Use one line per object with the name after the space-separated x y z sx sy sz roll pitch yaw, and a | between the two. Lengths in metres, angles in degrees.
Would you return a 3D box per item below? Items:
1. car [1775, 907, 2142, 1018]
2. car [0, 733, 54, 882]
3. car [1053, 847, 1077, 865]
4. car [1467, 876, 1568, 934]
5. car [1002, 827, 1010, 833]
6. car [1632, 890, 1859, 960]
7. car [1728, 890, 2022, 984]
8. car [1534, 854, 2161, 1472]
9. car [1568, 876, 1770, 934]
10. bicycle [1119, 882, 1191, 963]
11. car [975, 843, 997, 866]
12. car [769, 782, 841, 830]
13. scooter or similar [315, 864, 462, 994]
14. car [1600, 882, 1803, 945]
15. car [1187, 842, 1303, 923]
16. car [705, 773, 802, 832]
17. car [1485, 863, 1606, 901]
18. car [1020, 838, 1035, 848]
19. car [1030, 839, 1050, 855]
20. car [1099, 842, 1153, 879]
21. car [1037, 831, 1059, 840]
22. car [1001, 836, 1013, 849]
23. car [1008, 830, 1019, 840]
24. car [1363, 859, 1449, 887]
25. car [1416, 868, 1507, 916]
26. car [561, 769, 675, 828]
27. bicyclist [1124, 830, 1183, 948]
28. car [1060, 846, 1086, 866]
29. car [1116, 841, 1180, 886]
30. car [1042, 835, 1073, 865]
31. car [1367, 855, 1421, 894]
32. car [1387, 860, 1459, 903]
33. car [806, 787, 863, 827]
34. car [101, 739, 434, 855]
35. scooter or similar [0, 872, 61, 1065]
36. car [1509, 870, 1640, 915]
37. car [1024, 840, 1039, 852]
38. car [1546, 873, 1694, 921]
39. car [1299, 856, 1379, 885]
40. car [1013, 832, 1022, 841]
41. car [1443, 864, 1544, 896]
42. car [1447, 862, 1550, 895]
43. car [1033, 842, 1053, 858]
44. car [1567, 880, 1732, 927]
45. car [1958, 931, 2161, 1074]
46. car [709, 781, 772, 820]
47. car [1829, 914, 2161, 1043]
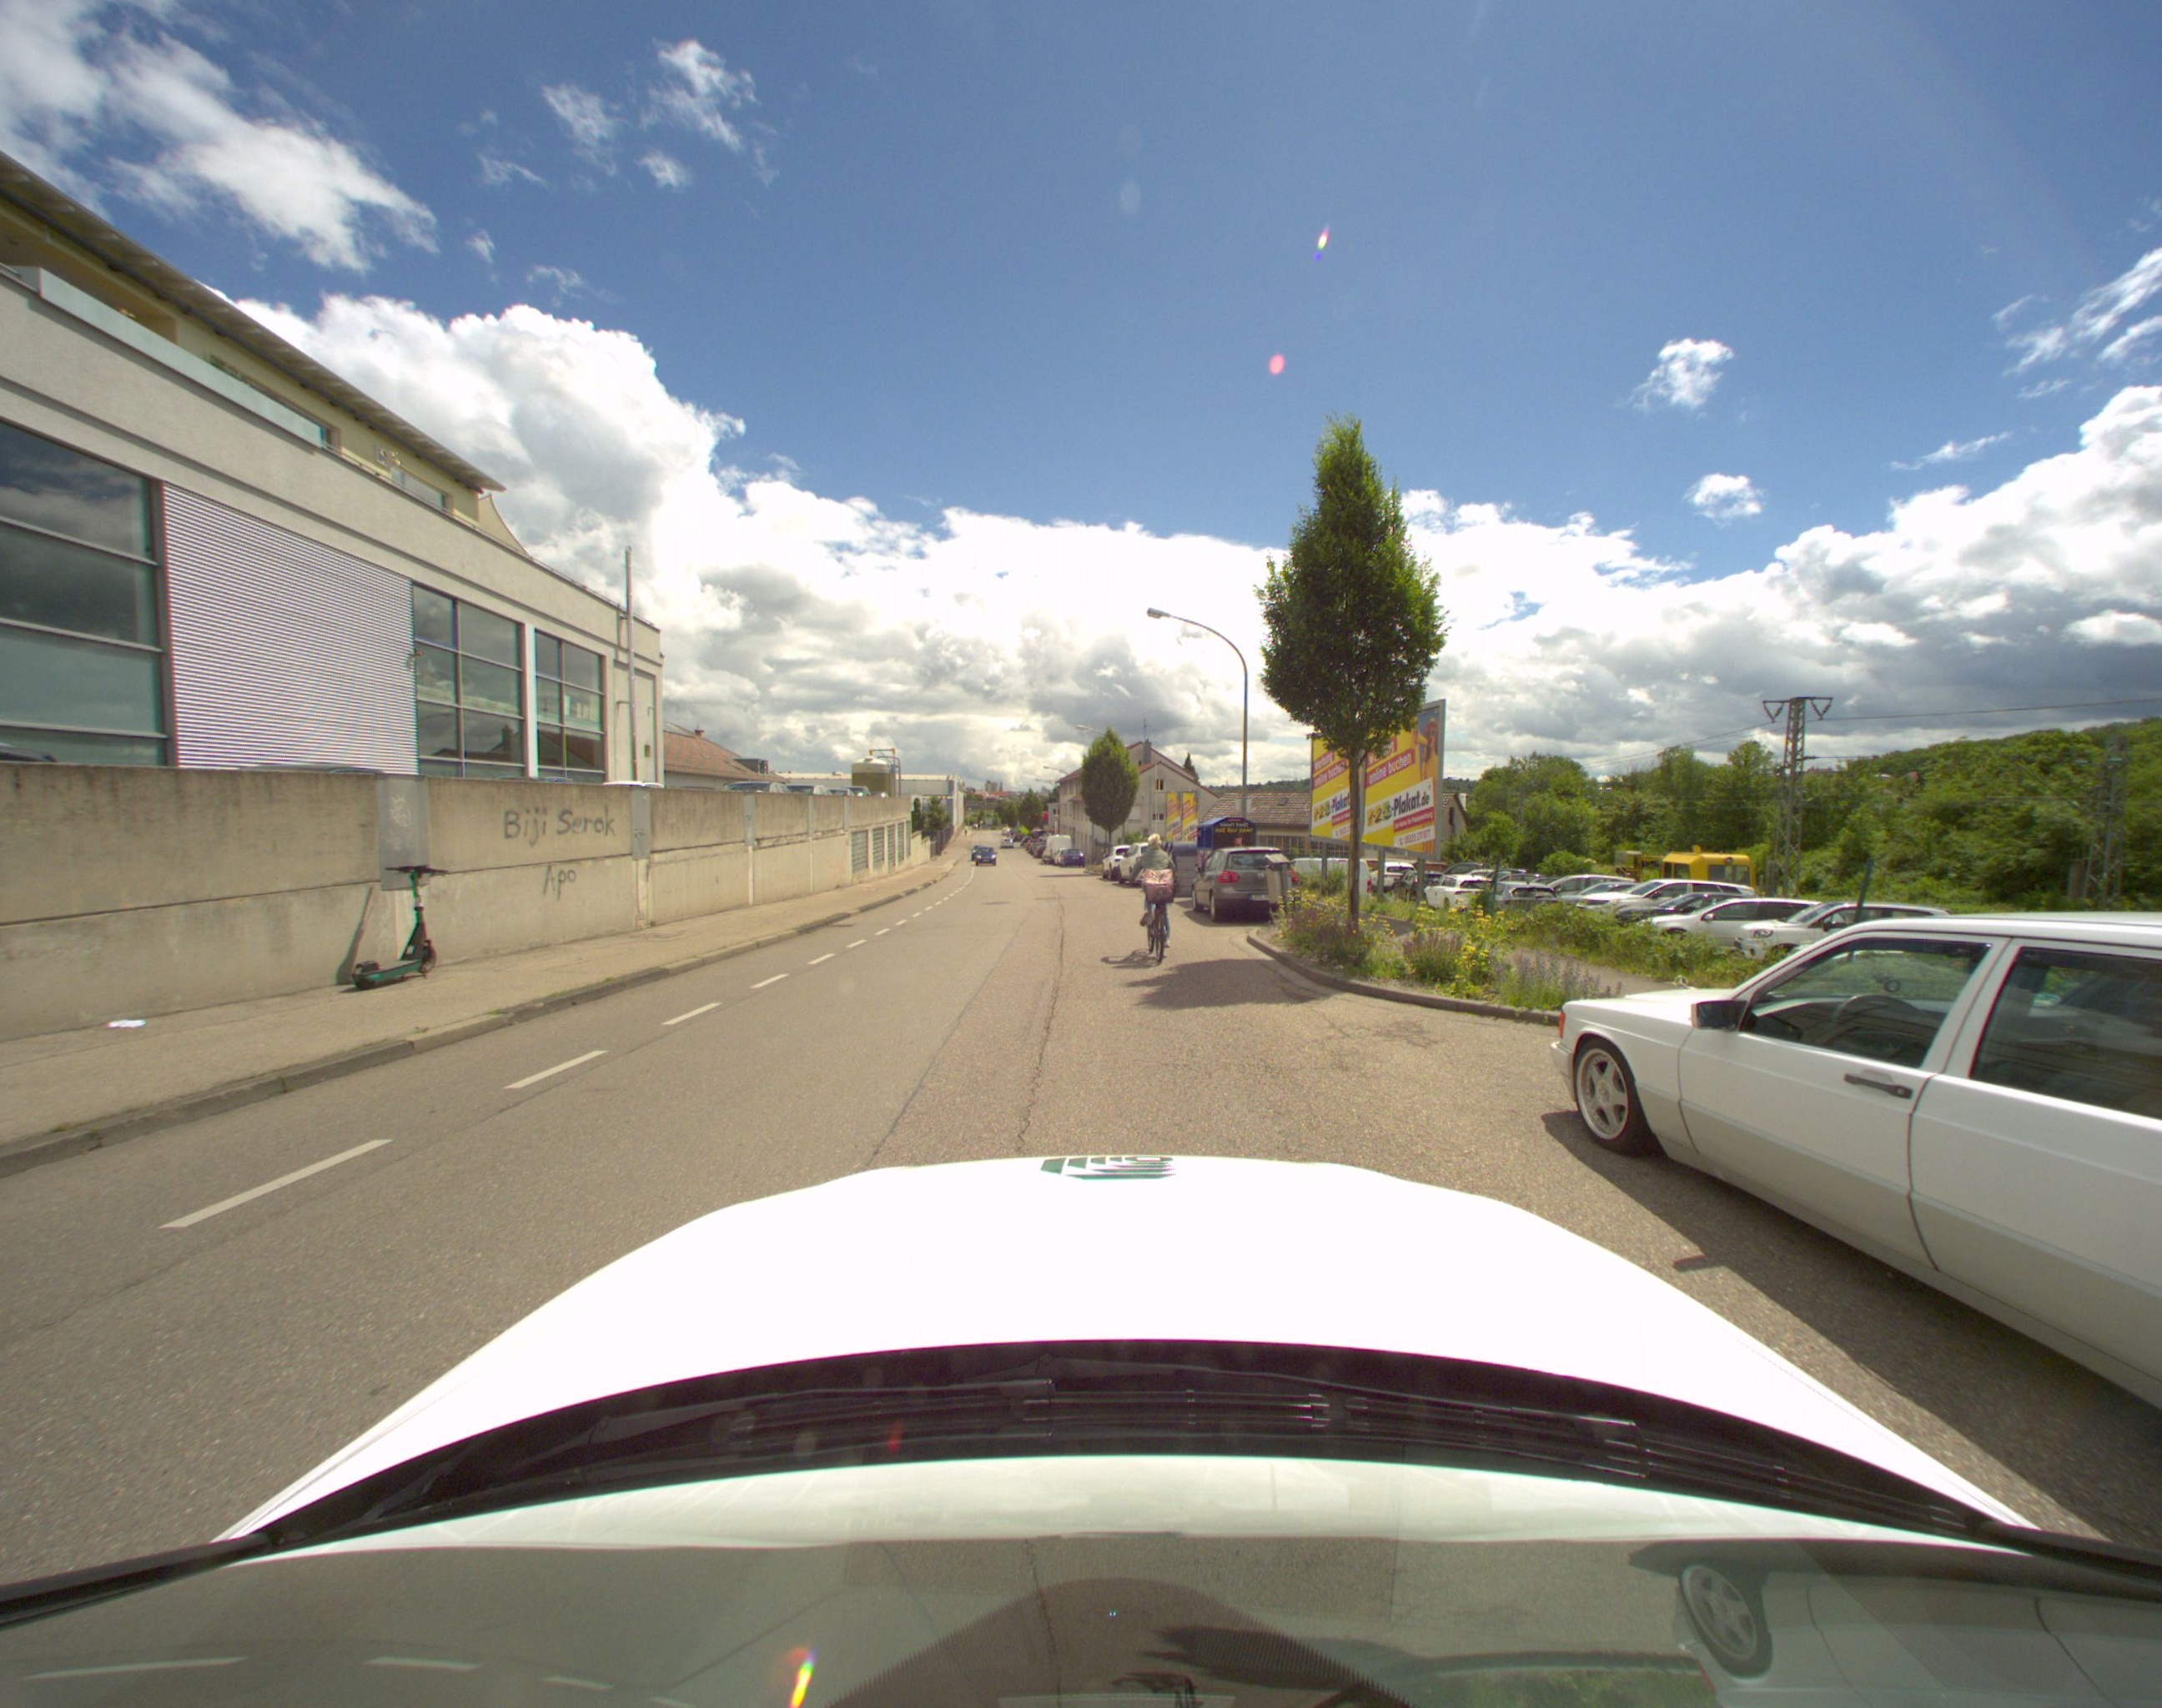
14.716 1.754 14.014 3.949 1.451 1.756 0 0 29 | car
-12.524 -0.504 7.258 1.804 1.636 4.103 0 0 -7 | car
-1.378 0.172 69.209 1.592 1.510 3.779 0 0 -9 | car
13.540 1.521 25.499 1.683 1.446 4.167 1 1 12 | car
-19.234 -6.244 209.701 1.702 1.527 3.724 3 2 -11 | car
15.485 1.605 19.284 3.986 1.354 1.749 0 0 32 | car
15.834 1.592 16.558 3.949 1.540 1.799 0 0 28 | car
3.341 0.716 2.630 1.630 1.387 4.209 0 1 3 | car
17.171 1.459 24.014 4.417 1.554 2.006 0 0 11 | car
1.002 0.922 11.466 0.739 0.975 1.730 0 1 -4 | bicycle
-7.996 0.038 68.133 1.626 1.817 3.768 -1 0 -9 | car
-10.743 -1.815 31.977 1.804 1.636 4.096 0 0 -6 | car
-7.480 0.763 8.876 0.519 1.276 1.379 2 0 -8 | scooter or similar
16.271 1.525 21.589 3.955 1.442 1.745 0 0 18 | car
3.383 0.527 17.512 1.650 1.485 4.044 -2 0 0 | car
-10.376 -1.563 26.091 1.804 1.636 4.096 0 0 -6 | car
19.023 1.134 33.519 4.001 1.390 1.751 -2 0 14 | car
-8.239 -1.774 125.074 1.790 1.465 4.695 0 2 -9 | car
-4.885 -0.845 96.964 1.677 1.637 4.780 2 3 -11 | car
2.033 0.271 38.061 1.839 1.565 4.458 -2 0 -5 | car
-5.915 -3.235 145.665 4.024 1.462 1.736 0 4 44 | car
-10.585 -1.587 115.918 1.566 1.786 3.596 0 0 -8 | car
-13.777 -3.806 166.077 1.868 1.990 5.131 0 2 -8 | car
17.231 1.031 43.256 3.991 1.390 1.534 -2 0 32 | car
14.096 1.352 30.434 1.742 1.517 4.592 -2 0 7 | car
-14.952 -1.728 26.568 1.804 1.636 4.103 0 0 -7 | car
1.020 0.480 11.556 0.738 1.626 0.730 0 0 -4 | bicyclist
-0.676 0.135 64.373 1.566 1.510 4.083 0 0 -8 | car
2.582 0.335 32.161 1.684 1.659 4.470 -1 0 -6 | car
-2.205 -0.385 75.164 2.032 2.641 7.261 0 0 -9 | car
15.452 0.965 40.429 1.738 1.684 4.695 -2 1 12 | car
14.653 1.146 35.121 1.801 1.621 4.474 -2 0 9 | car
-11.470 -2.166 38.171 1.804 1.636 4.096 0 0 -6 | car
-13.237 -0.813 13.694 1.804 1.636 4.103 0 0 -7 | car
-7.479 0.771 5.085 0.555 1.276 1.306 0 0 1 | scooter or similar
18.783 1.426 31.164 3.958 1.612 1.803 0 0 14 | car
-6.681 -1.080 109.062 1.733 1.472 4.252 1 3 -7 | car
18.696 1.465 28.429 3.958 1.559 1.830 0 0 14 | car
14.871 0.906 47.080 3.993 1.389 1.755 3 3 43 | car
-11.852 -3.232 151.413 1.677 1.637 4.115 0 2 -6 | car
19.727 1.269 39.144 4.139 1.390 1.799 -2 0 20 | car
18.766 1.103 36.808 3.955 1.390 1.605 -2 0 21 | car
-4.280 -0.492 91.433 1.703 1.509 5.074 2 2 -8 | car
18.050 1.544 26.041 3.958 1.330 1.762 0 0 14 | car
13.680 1.789 9.789 3.954 1.445 1.685 0 0 19 | car
-16.658 -2.574 40.015 1.804 1.636 4.103 0 0 -7 | car
14.028 1.769 12.125 3.949 1.486 1.824 0 0 29 | car
